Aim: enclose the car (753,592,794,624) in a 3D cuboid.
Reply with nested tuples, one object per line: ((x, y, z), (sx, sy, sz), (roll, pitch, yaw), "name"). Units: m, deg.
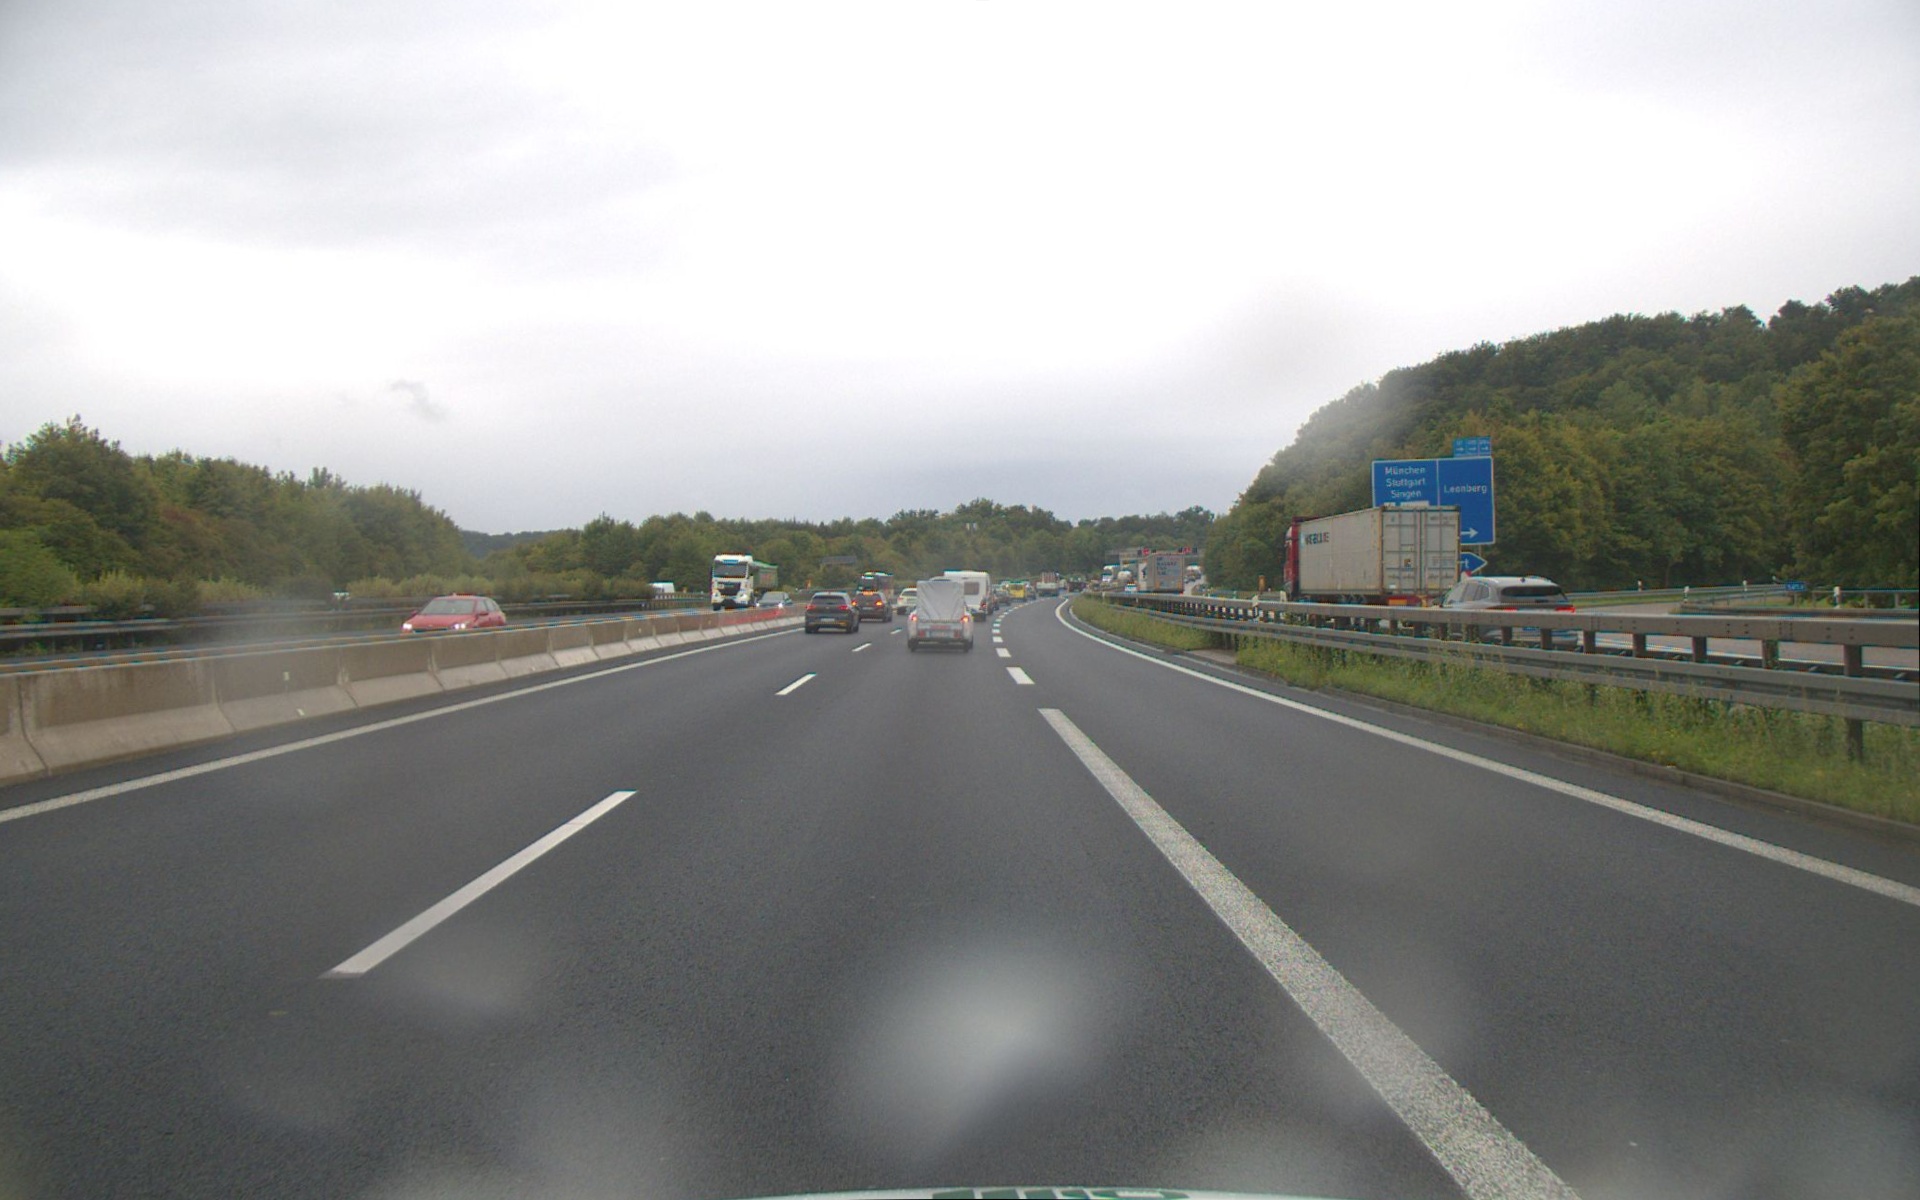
((-11.337, 0.464, 100.787), (1.856, 1.908, 4.544), (0, 0, 2), "car")

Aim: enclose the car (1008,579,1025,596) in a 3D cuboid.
((6.153, -1.353, 179.707), (1.640, 1.844, 4.002), (0, 0, 5), "car")

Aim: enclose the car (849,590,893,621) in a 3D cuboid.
((-4.344, 0.282, 81.044), (1.728, 1.481, 4.001), (0, 0, 3), "car")

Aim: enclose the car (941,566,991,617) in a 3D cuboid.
((0.384, -0.435, 88.612), (2.455, 2.630, 5.701), (0, 0, 2), "car")

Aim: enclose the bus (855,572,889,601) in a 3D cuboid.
((-9.903, -1.481, 186.979), (2.642, 3.010, 11.902), (0, -1, 3), "bus")

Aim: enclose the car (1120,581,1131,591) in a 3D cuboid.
((25.625, -2.172, 256.356), (1.640, 1.481, 4.003), (0, 0, 6), "car")

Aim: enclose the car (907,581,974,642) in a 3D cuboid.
((-0.501, 0.309, 47.395), (1.781, 1.644, 4.778), (0, 0, 1), "car")

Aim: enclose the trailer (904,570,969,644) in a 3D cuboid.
((-0.576, 0.177, 43.731), (1.641, 1.844, 4.000), (0, 0, 0), "trailer")

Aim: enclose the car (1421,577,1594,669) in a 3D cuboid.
((10.406, 0.404, 31.790), (1.733, 1.638, 4.643), (0, 0, -1), "car")

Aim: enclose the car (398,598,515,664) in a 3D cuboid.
((-13.018, 0.767, 43.049), (1.771, 1.608, 4.355), (0, 0, -1), "car")

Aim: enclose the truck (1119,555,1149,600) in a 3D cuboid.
((19.067, -2.362, 181.482), (3.147, 4.748, 13.041), (0, 0, 6), "truck")

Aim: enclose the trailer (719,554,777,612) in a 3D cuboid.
((-14.620, -1.128, 114.670), (2.843, 3.814, 8.928), (0, 0, 0), "trailer")

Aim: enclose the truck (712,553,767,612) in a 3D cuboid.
((-14.660, -1.130, 110.540), (2.827, 3.814, 5.945), (0, 0, 0), "truck")

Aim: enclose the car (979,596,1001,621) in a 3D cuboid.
((2.309, 0.626, 126.044), (1.641, 1.844, 4.000), (0, 0, 1), "car")

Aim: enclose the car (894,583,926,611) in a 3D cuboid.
((-3.091, -0.191, 103.627), (1.739, 1.669, 4.044), (0, 0, 2), "car")

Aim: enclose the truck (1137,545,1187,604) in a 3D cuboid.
((16.890, -2.054, 139.256), (3.148, 4.748, 13.036), (0, 0, 2), "truck")

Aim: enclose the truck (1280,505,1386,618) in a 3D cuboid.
((13.750, -1.362, 61.413), (2.562, 3.952, 6.392), (0, 0, 1), "truck")

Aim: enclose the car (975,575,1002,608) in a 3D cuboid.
((1.834, -0.567, 107.421), (1.641, 2.103, 3.999), (0, 0, 0), "car")

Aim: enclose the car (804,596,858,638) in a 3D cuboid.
((-4.689, 0.613, 60.684), (1.641, 1.481, 4.000), (0, 0, 0), "car")

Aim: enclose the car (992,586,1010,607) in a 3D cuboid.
((3.724, -0.309, 150.327), (1.641, 1.844, 4.000), (0, 0, 1), "car")

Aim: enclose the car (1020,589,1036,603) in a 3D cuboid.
((8.197, -0.443, 199.229), (1.995, 1.712, 4.001), (0, 0, 3), "car")

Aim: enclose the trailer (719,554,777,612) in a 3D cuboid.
((-14.620, -1.128, 114.670), (2.843, 3.814, 8.928), (0, 0, 0), "trailer")

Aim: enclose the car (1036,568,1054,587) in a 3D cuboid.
((11.868, -3.120, 230.295), (2.463, 2.620, 5.314), (0, 0, 3), "car")

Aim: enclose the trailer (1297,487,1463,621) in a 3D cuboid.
((13.646, -1.355, 55.000), (2.550, 3.962, 12.491), (0, 0, 1), "trailer")
